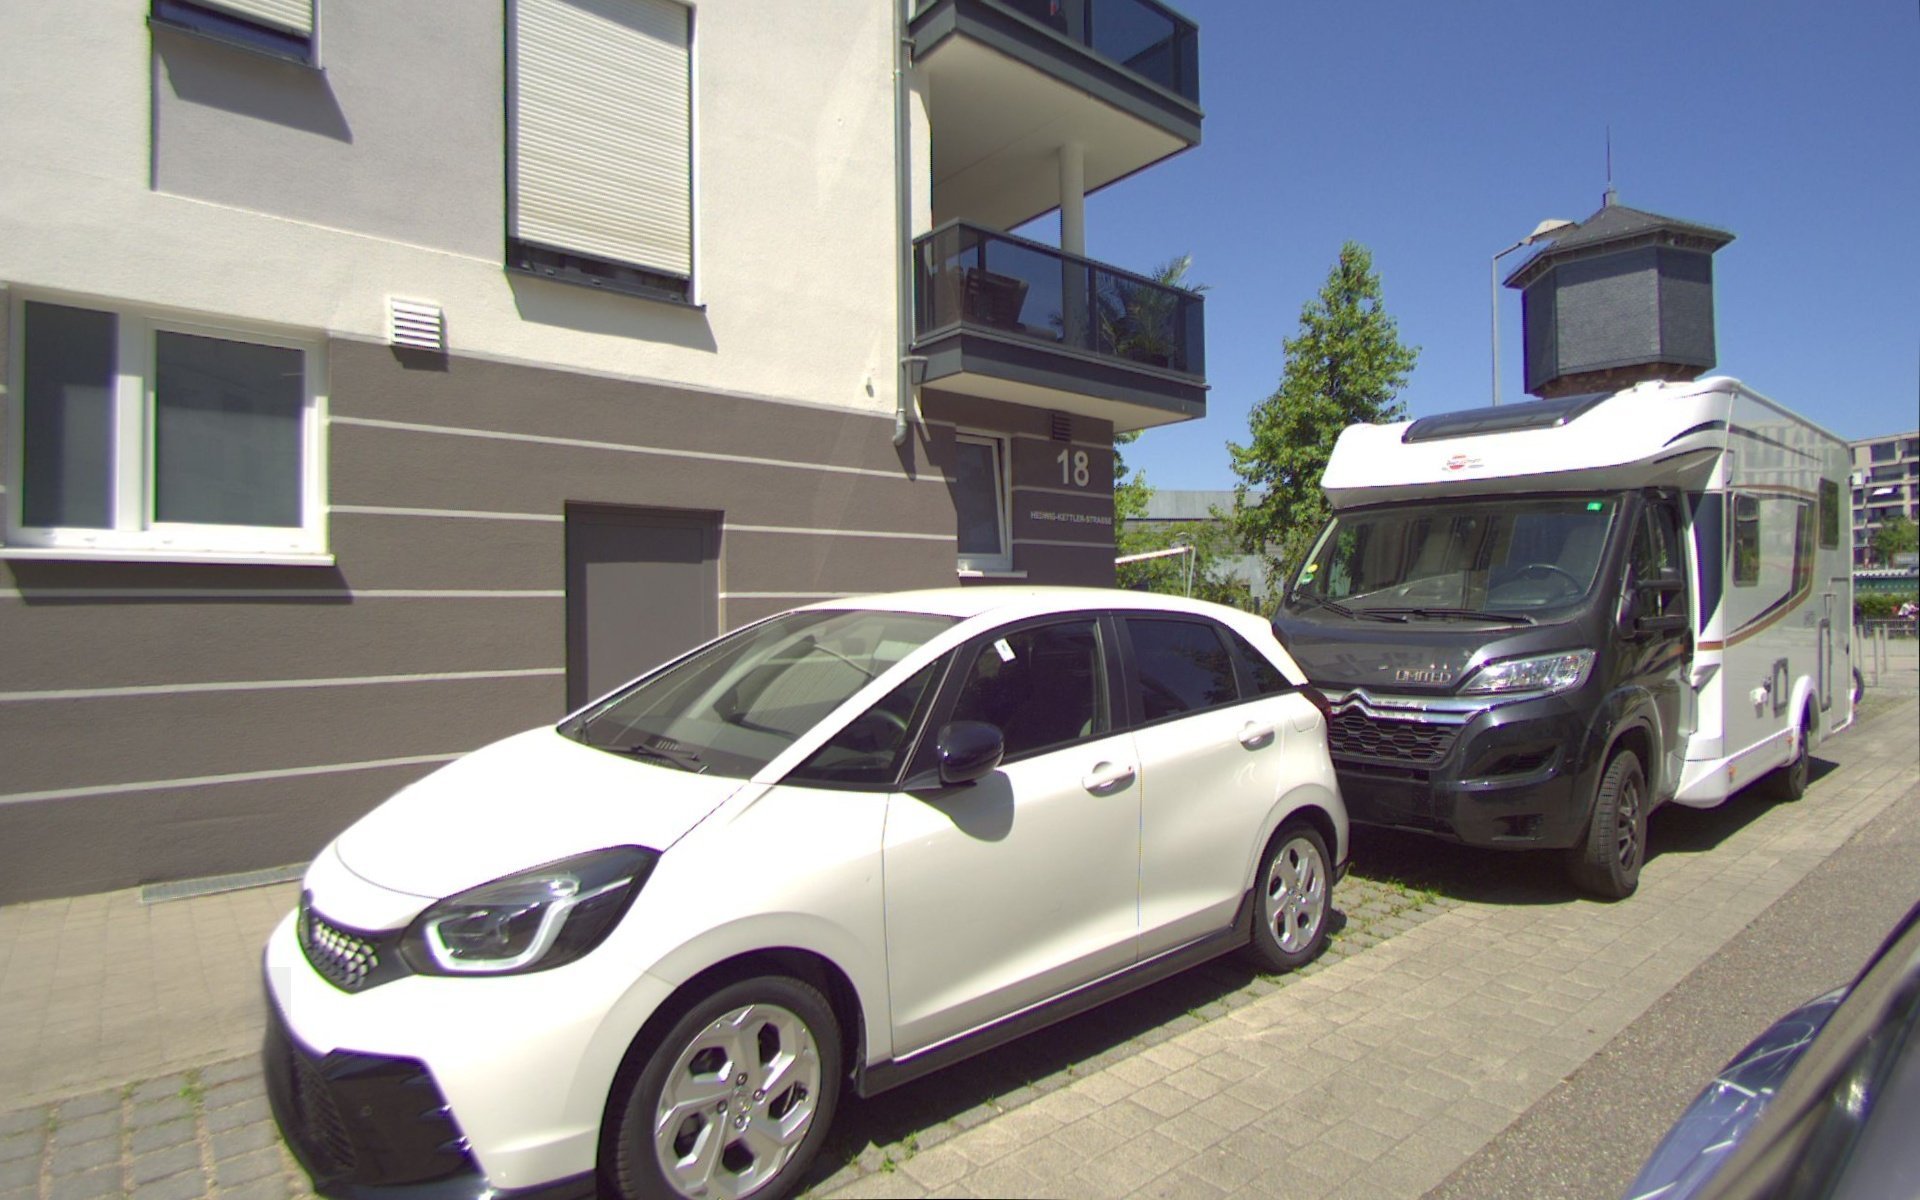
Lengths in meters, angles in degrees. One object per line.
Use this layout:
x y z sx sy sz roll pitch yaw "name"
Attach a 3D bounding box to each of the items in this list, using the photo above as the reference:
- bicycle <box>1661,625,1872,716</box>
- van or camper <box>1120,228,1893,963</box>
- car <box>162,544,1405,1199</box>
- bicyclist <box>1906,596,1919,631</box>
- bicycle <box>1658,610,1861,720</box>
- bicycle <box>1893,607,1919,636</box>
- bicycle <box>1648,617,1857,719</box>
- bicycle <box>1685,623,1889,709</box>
10.111 0.846 12.772 0.926 0.987 1.862 0 0 -27 "bicycle"
4.661 -0.055 7.519 7.691 2.943 2.442 -1 -1 -41 "van or camper"
-0.198 0.652 3.703 4.188 1.524 1.809 0 0 -42 "car"
40.343 0.550 42.402 0.718 1.453 0.661 -1 -2 -11 "bicyclist"
9.675 0.745 12.322 0.545 1.238 1.854 0 -1 -38 "bicycle"
40.354 0.904 42.336 0.579 1.214 1.944 -1 -2 -11 "bicycle"
9.396 0.764 12.078 0.467 1.125 1.887 0 -1 -38 "bicycle"
10.845 0.829 13.361 2.022 1.016 0.863 0 0 39 "bicycle"
